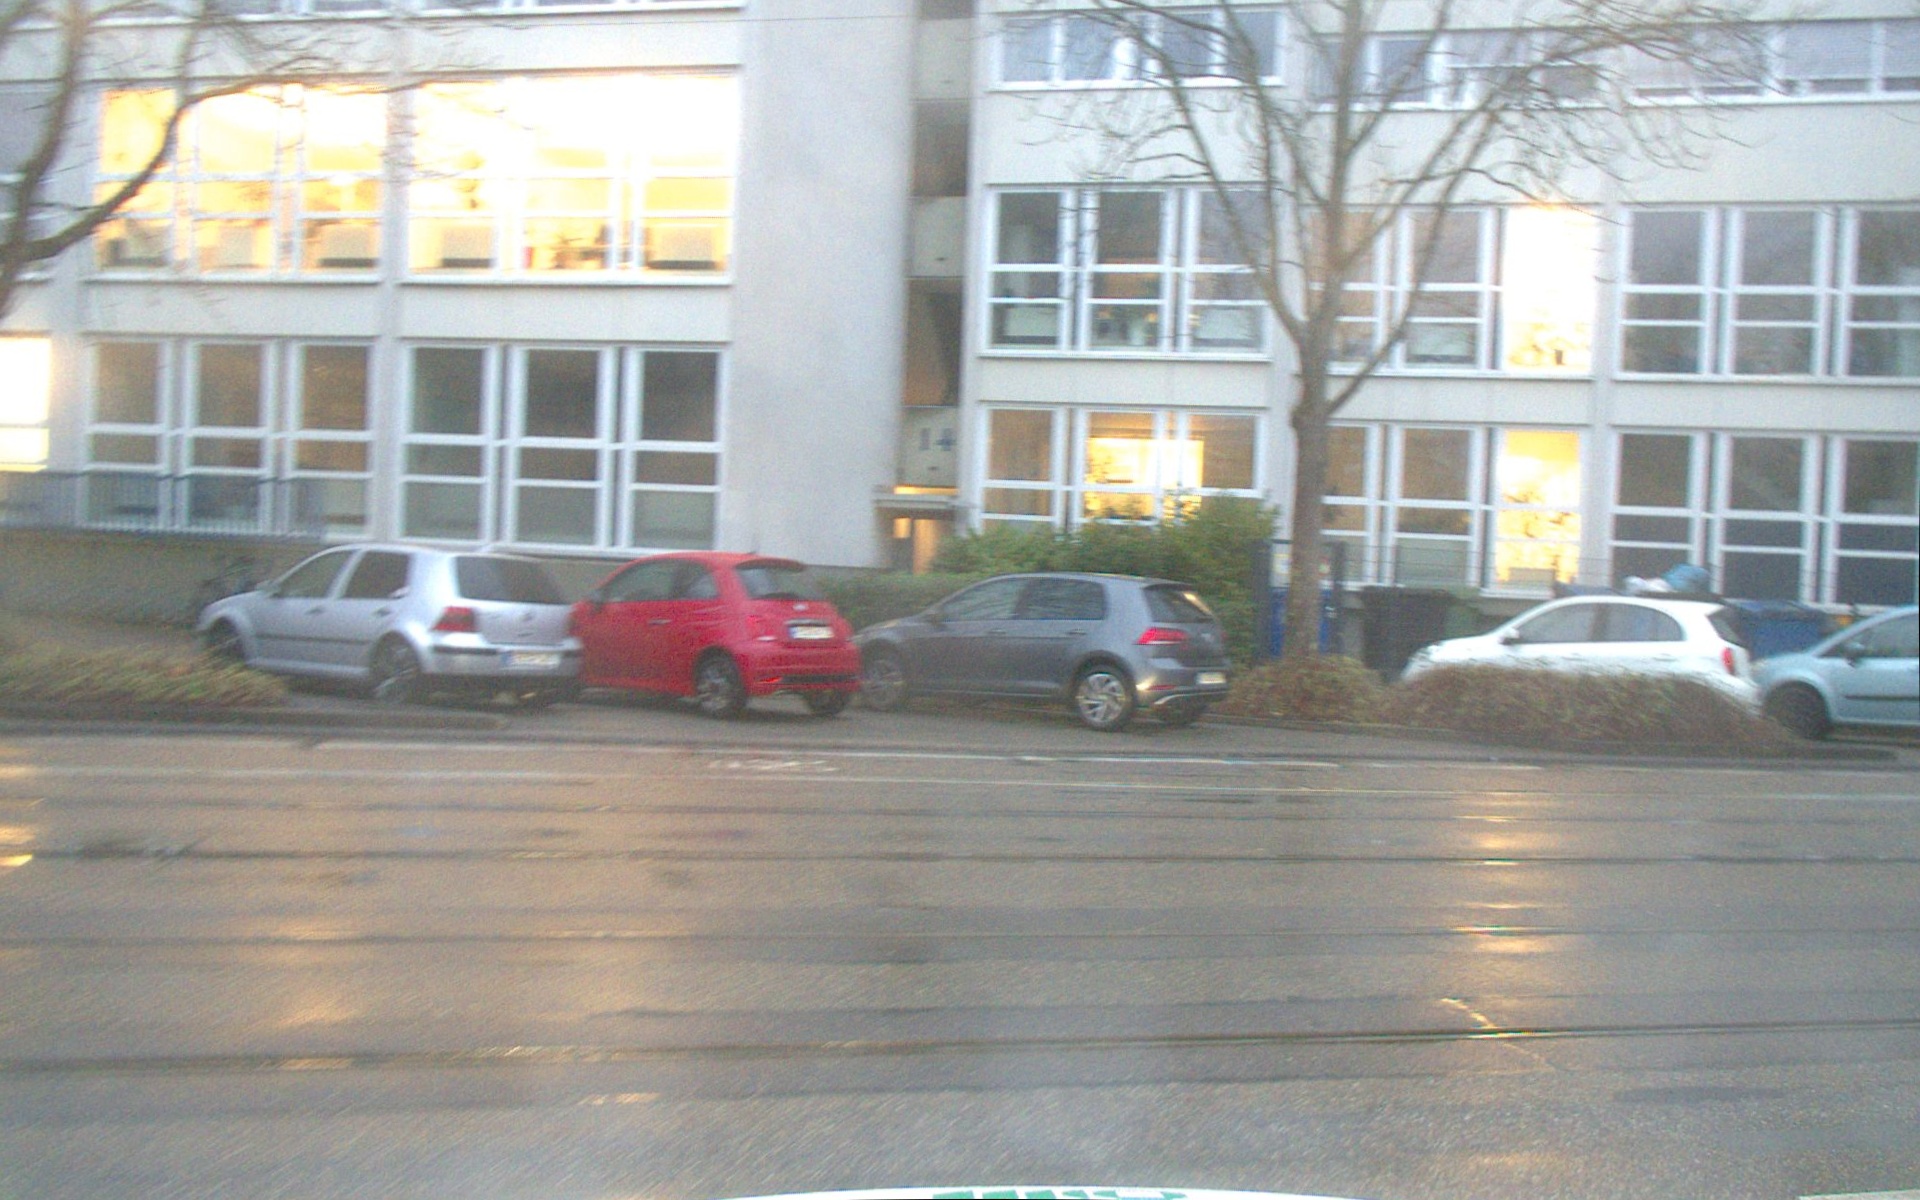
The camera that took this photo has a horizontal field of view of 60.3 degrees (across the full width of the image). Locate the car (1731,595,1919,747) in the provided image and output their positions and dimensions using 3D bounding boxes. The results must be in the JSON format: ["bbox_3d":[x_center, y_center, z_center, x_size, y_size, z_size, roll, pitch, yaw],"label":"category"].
[{"bbox_3d":[11.016,0.820,18.676,3.920,1.591,1.730,3,1,35],"label":"car"}]

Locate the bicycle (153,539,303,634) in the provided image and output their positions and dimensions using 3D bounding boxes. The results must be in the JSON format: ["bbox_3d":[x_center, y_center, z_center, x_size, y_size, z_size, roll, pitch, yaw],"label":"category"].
[{"bbox_3d":[-9.347,-0.176,21.224,0.626,1.140,2.207,2,1,10],"label":"bicycle"}]

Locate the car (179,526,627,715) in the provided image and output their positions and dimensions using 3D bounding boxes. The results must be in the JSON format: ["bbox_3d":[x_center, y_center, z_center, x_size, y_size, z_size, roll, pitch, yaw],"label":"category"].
[{"bbox_3d":[-5.153,0.130,15.195,3.915,1.471,1.789,3,1,31],"label":"car"}]

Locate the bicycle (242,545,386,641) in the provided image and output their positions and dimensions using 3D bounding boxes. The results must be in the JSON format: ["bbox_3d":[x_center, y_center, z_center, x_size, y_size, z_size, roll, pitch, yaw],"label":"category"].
[{"bbox_3d":[-8.181,-0.094,21.059,0.626,1.140,2.207,2,1,10],"label":"bicycle"}]

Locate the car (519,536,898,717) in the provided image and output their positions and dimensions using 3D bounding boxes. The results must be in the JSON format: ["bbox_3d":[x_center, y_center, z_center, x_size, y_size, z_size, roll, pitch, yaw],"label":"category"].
[{"bbox_3d":[-2.481,0.200,16.082,3.382,1.518,1.723,3,1,35],"label":"car"}]

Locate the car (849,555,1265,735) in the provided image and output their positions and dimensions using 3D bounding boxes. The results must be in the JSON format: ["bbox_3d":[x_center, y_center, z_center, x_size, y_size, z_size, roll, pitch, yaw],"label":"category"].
[{"bbox_3d":[0.923,0.379,16.483,3.774,1.518,1.691,3,1,34],"label":"car"}]

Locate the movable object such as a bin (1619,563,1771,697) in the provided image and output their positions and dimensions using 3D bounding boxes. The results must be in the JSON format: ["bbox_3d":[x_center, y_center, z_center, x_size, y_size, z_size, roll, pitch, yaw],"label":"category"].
[{"bbox_3d":[10.757,0.419,24.268,1.364,1.892,1.570,1,1,-12],"label":"movable object such as a bin"}]

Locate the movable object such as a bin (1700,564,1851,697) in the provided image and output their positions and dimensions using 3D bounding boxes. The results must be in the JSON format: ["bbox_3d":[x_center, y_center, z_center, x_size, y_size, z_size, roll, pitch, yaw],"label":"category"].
[{"bbox_3d":[12.070,0.434,24.533,1.290,1.892,1.570,1,1,-12],"label":"movable object such as a bin"}]

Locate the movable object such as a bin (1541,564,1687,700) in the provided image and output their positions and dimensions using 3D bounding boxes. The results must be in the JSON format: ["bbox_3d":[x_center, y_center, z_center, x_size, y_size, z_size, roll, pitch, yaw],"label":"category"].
[{"bbox_3d":[9.441,0.441,23.938,1.290,1.892,1.570,1,1,-12],"label":"movable object such as a bin"}]

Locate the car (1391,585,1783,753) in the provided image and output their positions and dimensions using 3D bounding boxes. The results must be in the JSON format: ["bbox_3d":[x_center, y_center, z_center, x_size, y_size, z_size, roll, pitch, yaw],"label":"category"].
[{"bbox_3d":[6.953,0.694,18.439,3.795,1.578,1.688,3,1,33],"label":"car"}]
